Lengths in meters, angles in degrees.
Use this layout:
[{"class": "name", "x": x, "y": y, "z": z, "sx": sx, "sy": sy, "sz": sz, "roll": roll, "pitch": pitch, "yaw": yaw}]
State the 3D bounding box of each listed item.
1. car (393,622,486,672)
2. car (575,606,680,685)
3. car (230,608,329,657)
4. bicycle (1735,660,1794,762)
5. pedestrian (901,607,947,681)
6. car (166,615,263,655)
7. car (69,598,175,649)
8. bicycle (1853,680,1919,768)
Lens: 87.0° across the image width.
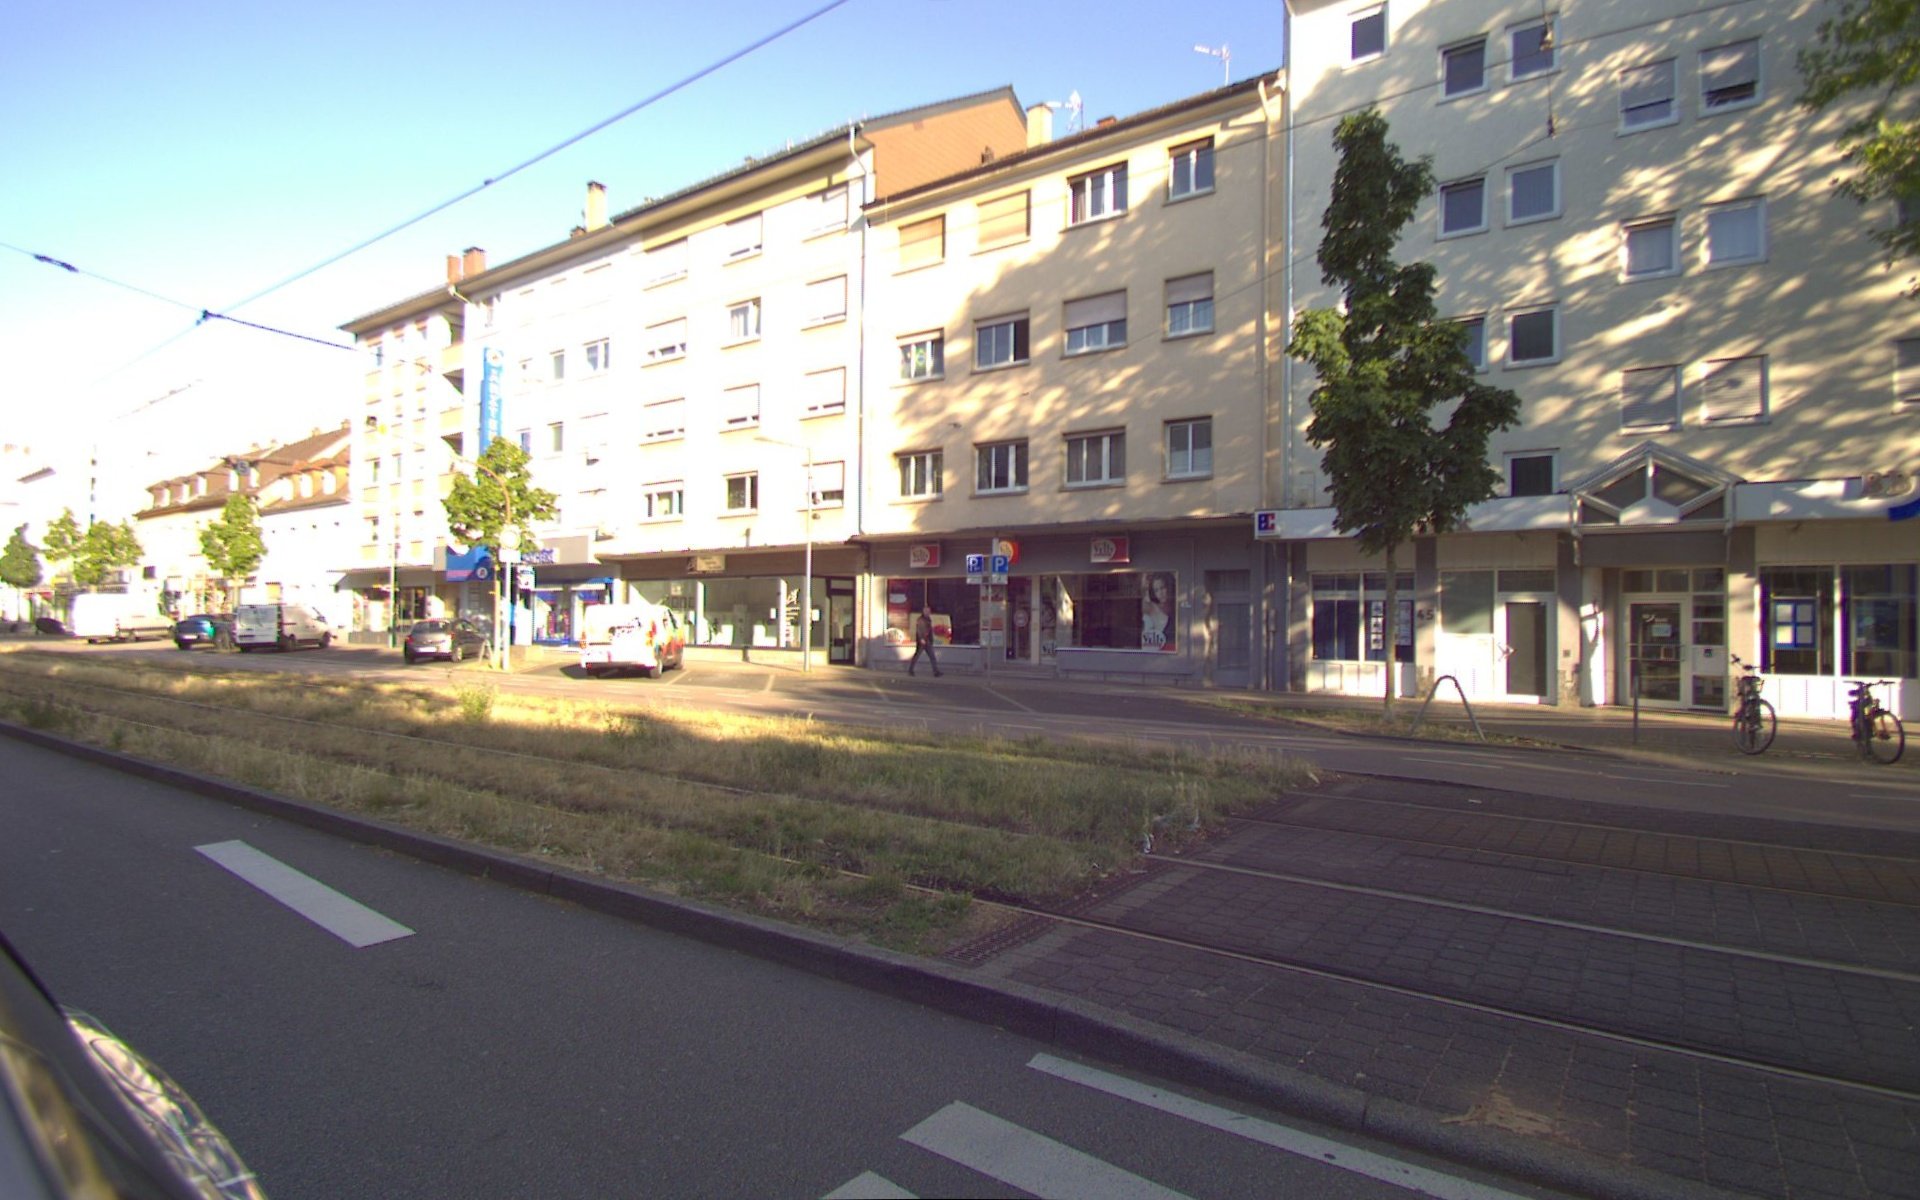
[{"class": "car", "x": -17.547, "y": 1.541, "z": 34.330, "sx": 1.708, "sy": 1.508, "sz": 4.009, "roll": 0, "pitch": 0, "yaw": -10}, {"class": "car", "x": -8.799, "y": 1.147, "z": 27.110, "sx": 1.830, "sy": 1.913, "sz": 4.005, "roll": 0, "pitch": 0, "yaw": -6}, {"class": "car", "x": -28.625, "y": 1.304, "z": 42.732, "sx": 1.828, "sy": 1.952, "sz": 4.514, "roll": 0, "pitch": 0, "yaw": -10}, {"class": "bicycle", "x": 10.295, "y": 1.381, "z": 12.983, "sx": 0.511, "sy": 1.147, "sz": 1.724, "roll": -1, "pitch": -1, "yaw": 36}, {"class": "pedestrian", "x": -0.922, "y": 1.111, "z": 25.967, "sx": 0.916, "sy": 1.841, "sz": 0.747, "roll": -1, "pitch": -1, "yaw": 41}, {"class": "car", "x": -34.176, "y": 1.557, "z": 46.530, "sx": 1.830, "sy": 1.727, "sz": 3.919, "roll": 0, "pitch": 0, "yaw": -4}, {"class": "car", "x": -45.448, "y": 1.216, "z": 55.106, "sx": 1.895, "sy": 2.634, "sz": 6.608, "roll": 0, "pitch": 0, "yaw": -16}, {"class": "bicycle", "x": 11.349, "y": 1.483, "z": 12.389, "sx": 0.471, "sy": 0.895, "sz": 1.724, "roll": -1, "pitch": -1, "yaw": 36}]
